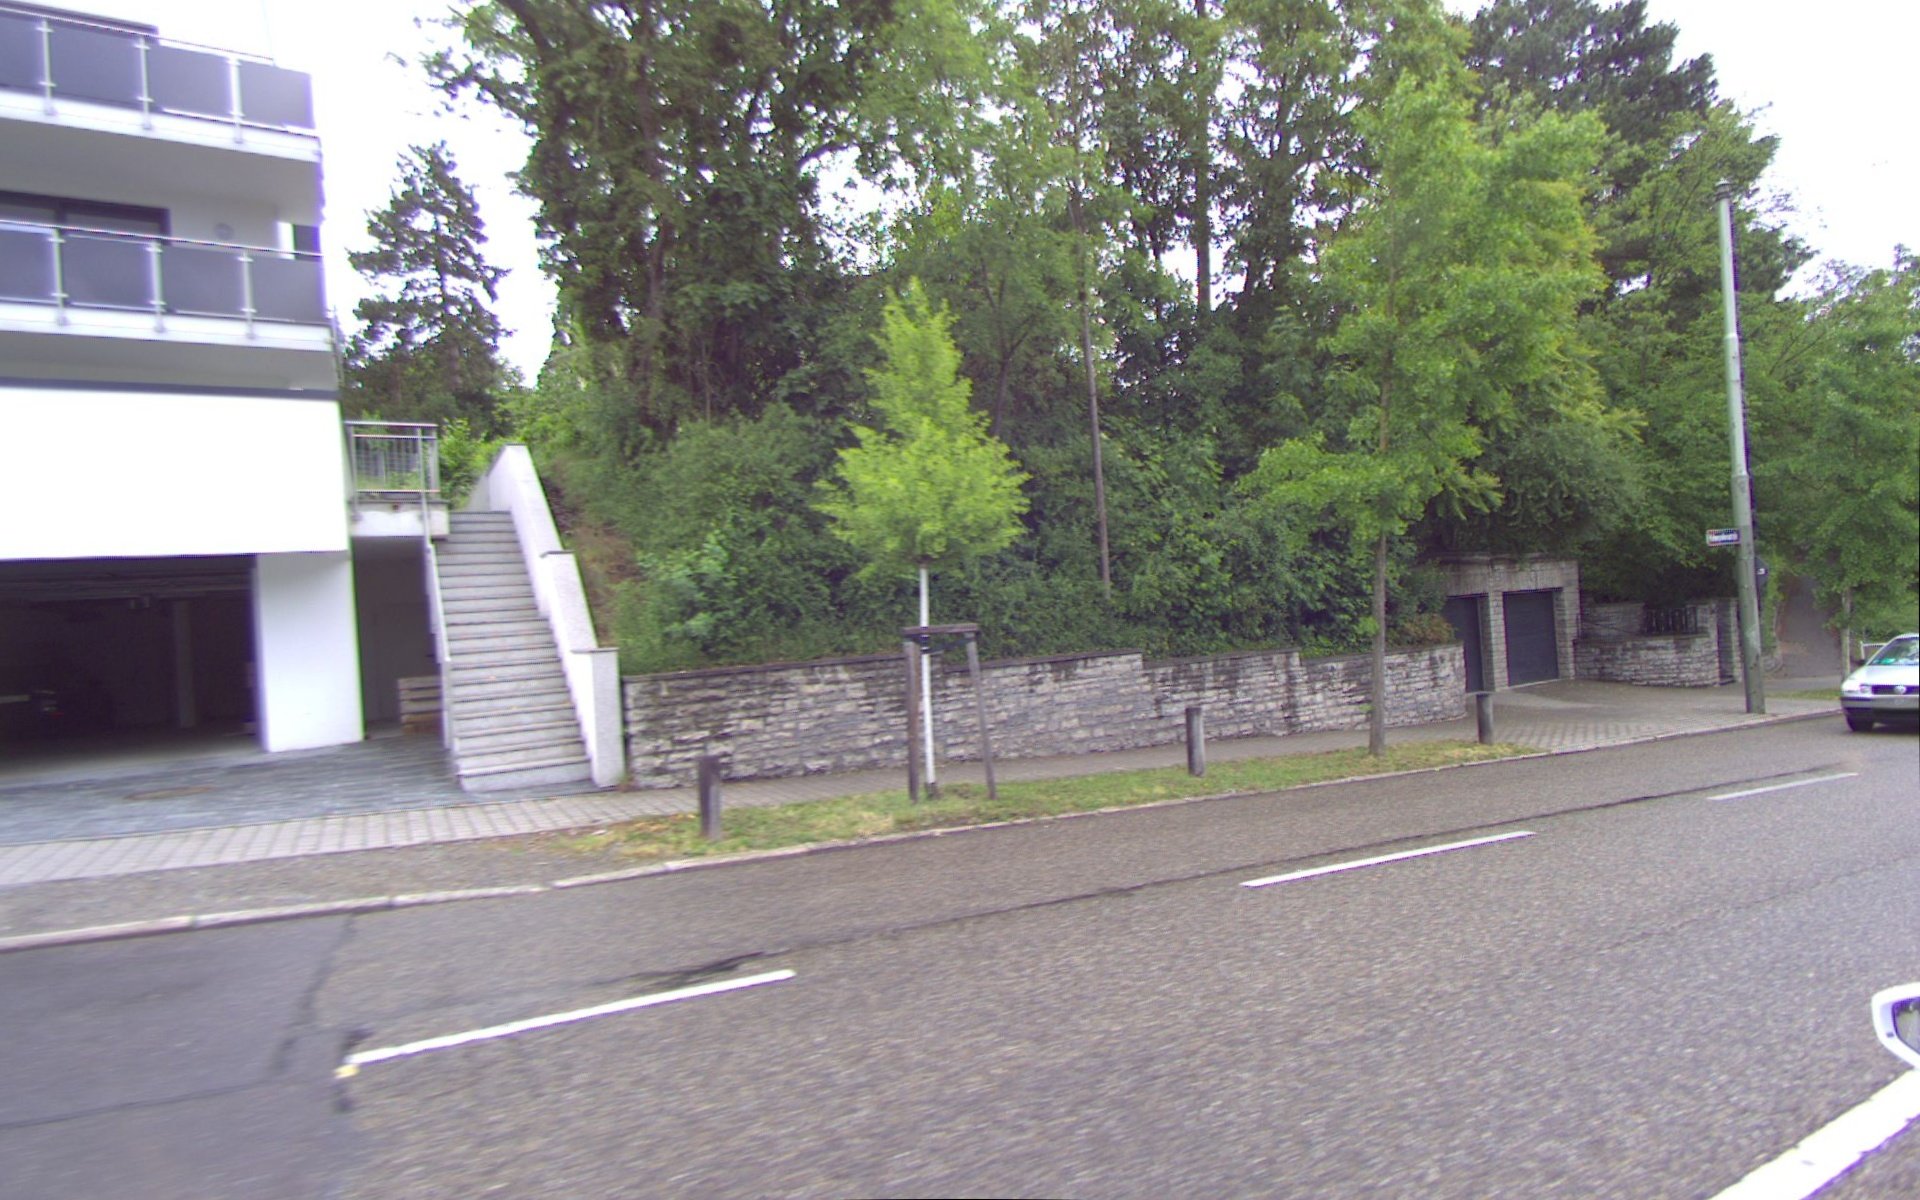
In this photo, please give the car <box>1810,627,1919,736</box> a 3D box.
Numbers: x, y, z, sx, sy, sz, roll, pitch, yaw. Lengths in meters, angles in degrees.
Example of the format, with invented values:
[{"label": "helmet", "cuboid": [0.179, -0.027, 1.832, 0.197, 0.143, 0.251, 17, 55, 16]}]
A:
[{"label": "car", "cuboid": [14.724, 1.146, 15.043, 3.754, 1.505, 1.758, 0, -4, -29]}]
